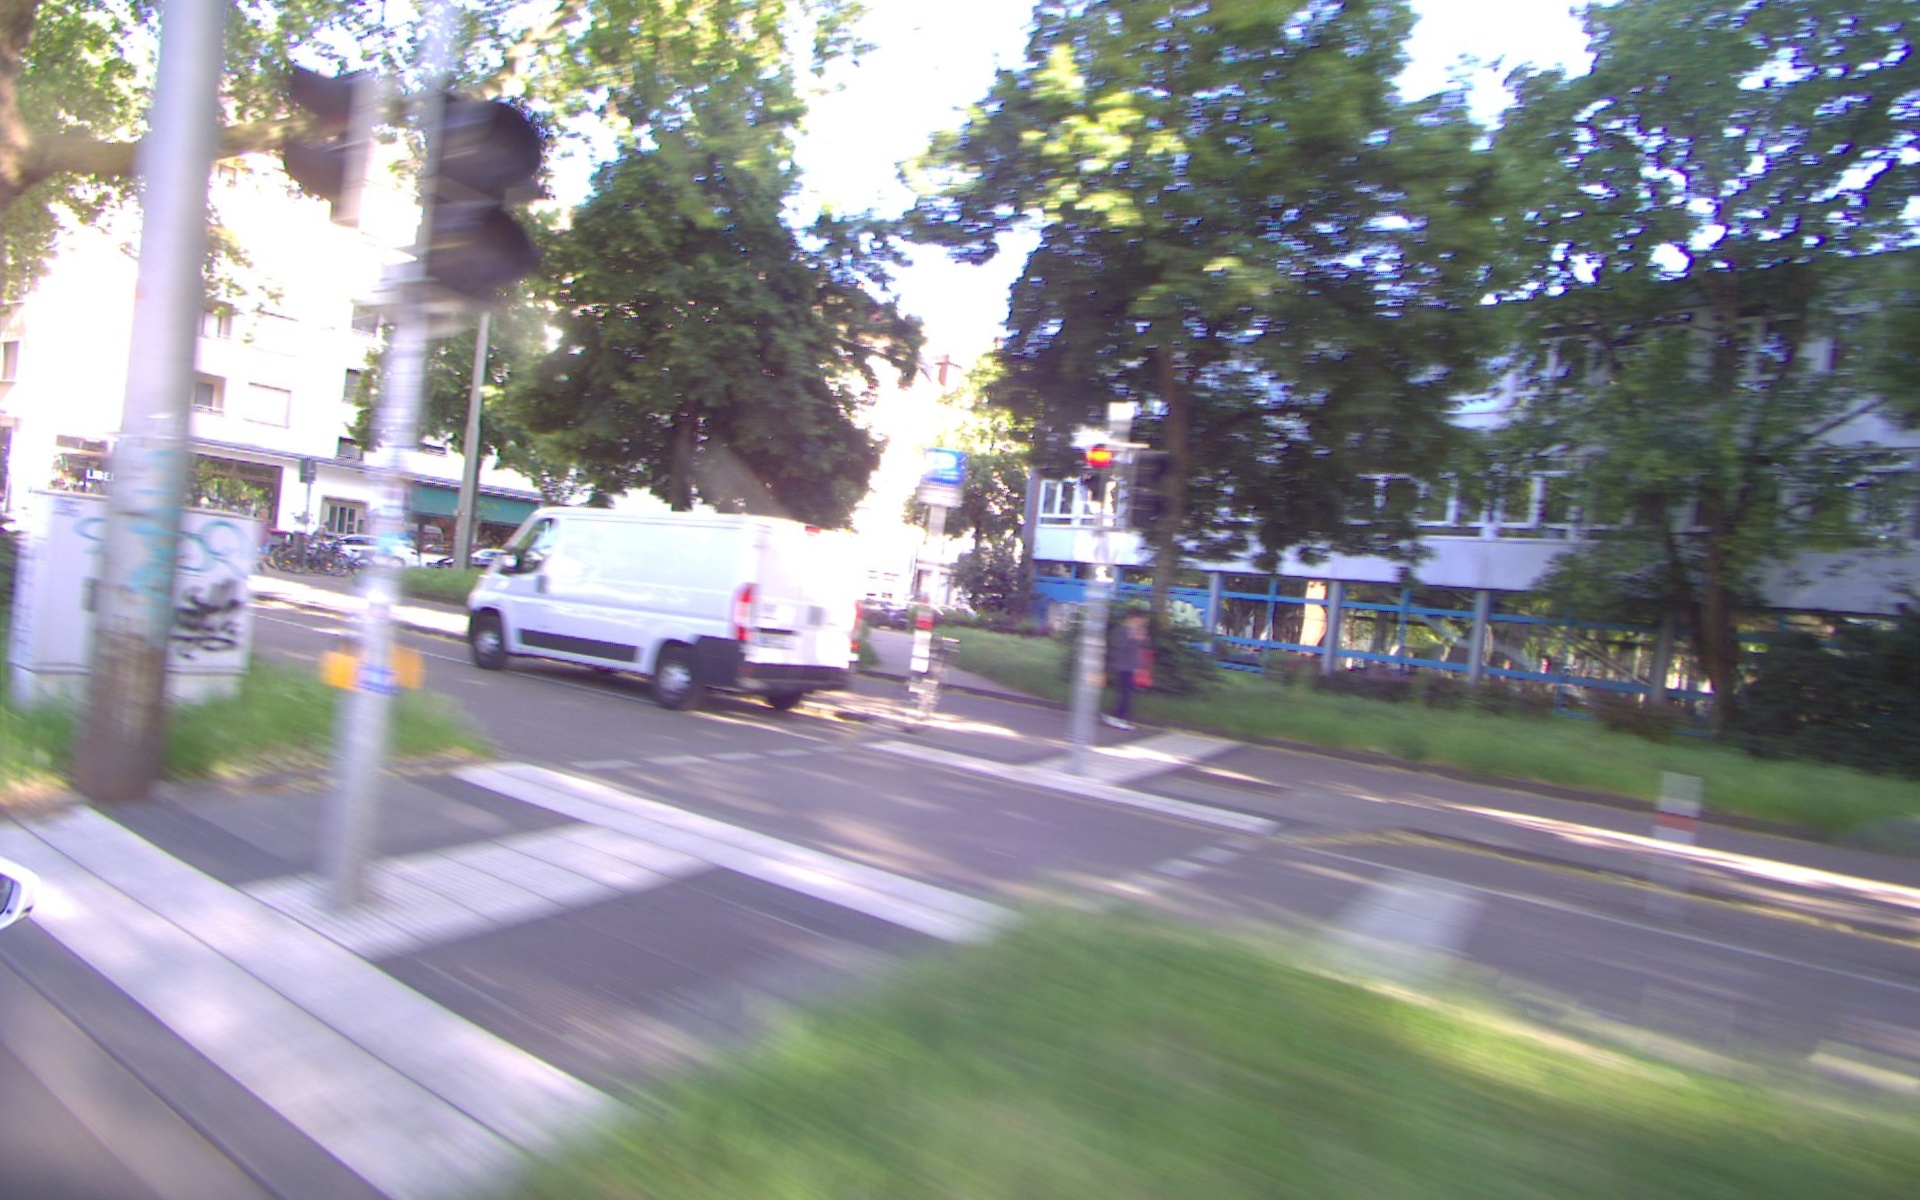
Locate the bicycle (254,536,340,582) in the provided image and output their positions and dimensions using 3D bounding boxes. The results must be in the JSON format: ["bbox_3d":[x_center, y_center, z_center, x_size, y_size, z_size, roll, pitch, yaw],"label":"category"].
[{"bbox_3d":[-20.424,-1.258,31.035,2.125,1.117,0.504,7,0,-34],"label":"bicycle"}]

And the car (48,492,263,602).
[{"bbox_3d":[-16.876,-1.141,21.024,5.082,1.763,1.821,6,0,32],"label":"car"}]

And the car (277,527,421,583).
[{"bbox_3d":[-24.625,-1.787,40.637,4.572,1.600,1.976,8,-1,-43],"label":"car"}]

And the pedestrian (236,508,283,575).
[{"bbox_3d":[-18.977,-1.591,27.263,0.892,1.671,0.679,7,1,39],"label":"pedestrian"}]

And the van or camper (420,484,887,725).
[{"bbox_3d":[-4.026,-0.038,12.813,5.726,2.314,2.294,6,-1,31],"label":"van or camper"}]

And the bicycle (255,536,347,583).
[{"bbox_3d":[-19.297,-1.180,29.499,2.176,1.117,0.504,7,0,-34],"label":"bicycle"}]

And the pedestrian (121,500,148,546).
[{"bbox_3d":[-31.672,-2.964,38.593,0.714,1.670,0.590,7,1,43],"label":"pedestrian"}]

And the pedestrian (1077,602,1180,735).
[{"bbox_3d":[2.280,0.915,13.615,1.018,1.636,0.733,7,0,32],"label":"pedestrian"}]

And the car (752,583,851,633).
[{"bbox_3d":[-6.901,0.331,43.470,1.987,1.648,4.336,7,0,-43],"label":"car"}]

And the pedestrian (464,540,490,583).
[{"bbox_3d":[-21.896,-1.742,45.565,0.719,1.831,0.680,6,1,-44],"label":"pedestrian"}]

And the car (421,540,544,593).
[{"bbox_3d":[-20.848,-1.444,44.040,4.367,1.664,1.976,8,-1,-43],"label":"car"}]

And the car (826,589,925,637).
[{"bbox_3d":[-3.911,0.584,46.247,1.987,1.648,4.596,7,0,-43],"label":"car"}]

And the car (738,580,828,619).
[{"bbox_3d":[-9.632,-0.005,54.958,4.367,1.555,1.976,8,-1,-43],"label":"car"}]

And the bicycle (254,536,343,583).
[{"bbox_3d":[-19.688,-1.207,29.993,2.125,1.117,0.504,7,0,-34],"label":"bicycle"}]

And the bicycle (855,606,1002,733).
[{"bbox_3d":[-0.331,0.805,11.758,0.946,1.279,1.607,7,0,27],"label":"bicycle"}]

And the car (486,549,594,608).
[{"bbox_3d":[-14.833,-0.782,35.435,1.987,1.648,4.336,7,0,-43],"label":"car"}]

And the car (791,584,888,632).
[{"bbox_3d":[-5.420,0.327,44.888,1.987,1.648,4.336,7,0,-43],"label":"car"}]

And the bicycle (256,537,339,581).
[{"bbox_3d":[-21.008,-1.290,31.941,2.125,1.117,0.468,7,0,-34],"label":"bicycle"}]

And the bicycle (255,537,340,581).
[{"bbox_3d":[-20.728,-1.281,31.503,2.125,1.117,0.504,7,0,-34],"label":"bicycle"}]

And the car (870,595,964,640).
[{"bbox_3d":[-2.100,0.801,48.138,1.987,1.648,4.336,7,0,-43],"label":"car"}]

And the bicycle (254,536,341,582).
[{"bbox_3d":[-20.109,-1.241,30.569,2.125,1.117,0.504,7,0,-34],"label":"bicycle"}]

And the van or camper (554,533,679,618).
[{"bbox_3d":[-12.837,-0.966,37.347,2.139,2.668,5.521,6,0,-42],"label":"van or camper"}]
